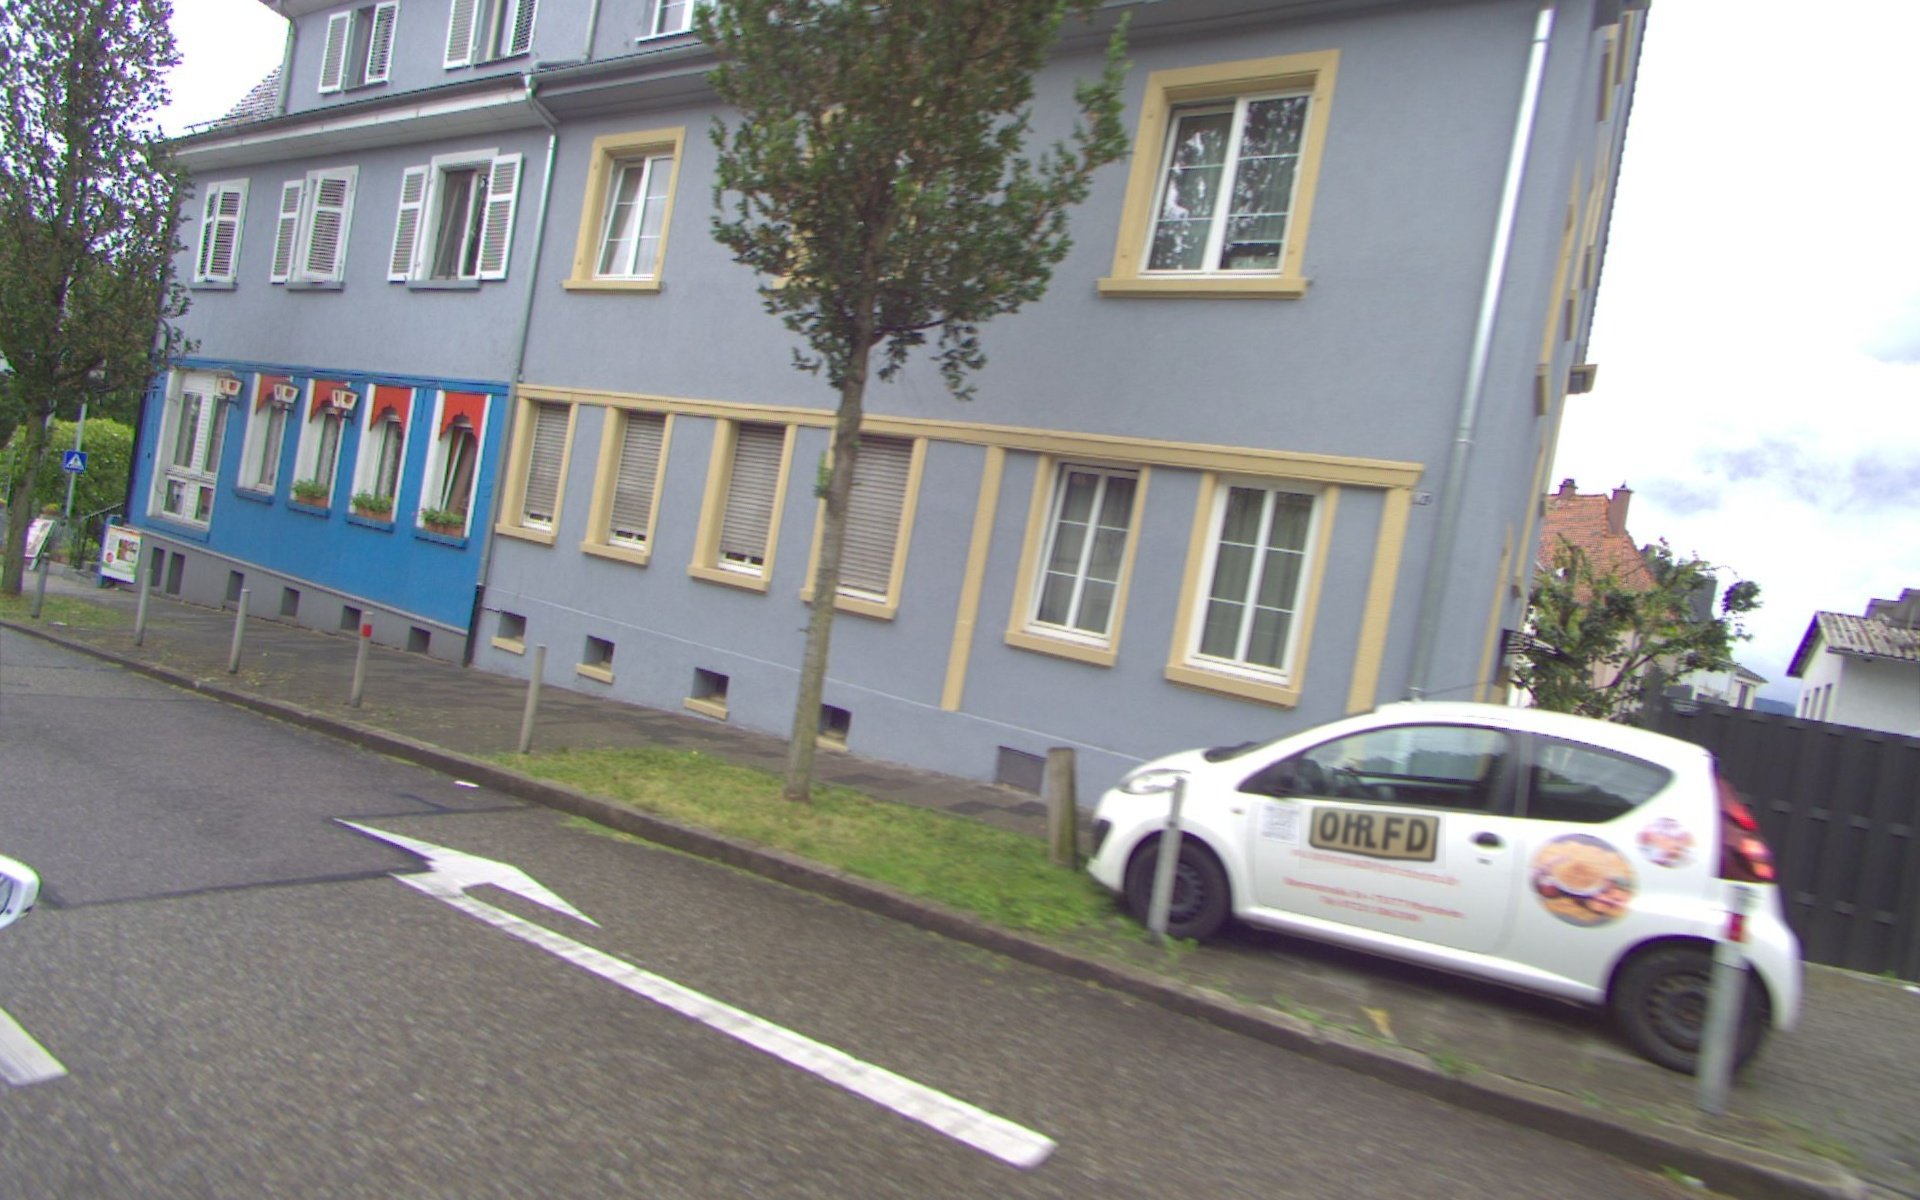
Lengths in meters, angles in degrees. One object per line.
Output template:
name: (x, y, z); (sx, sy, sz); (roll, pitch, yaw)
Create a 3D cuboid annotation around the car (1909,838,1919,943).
car: (8.644, 2.165, 6.445); (1.775, 1.422, 4.375); (7, -3, 16)

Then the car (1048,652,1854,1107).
car: (2.428, 1.228, 5.614); (3.396, 1.430, 1.589); (7, 1, 28)
